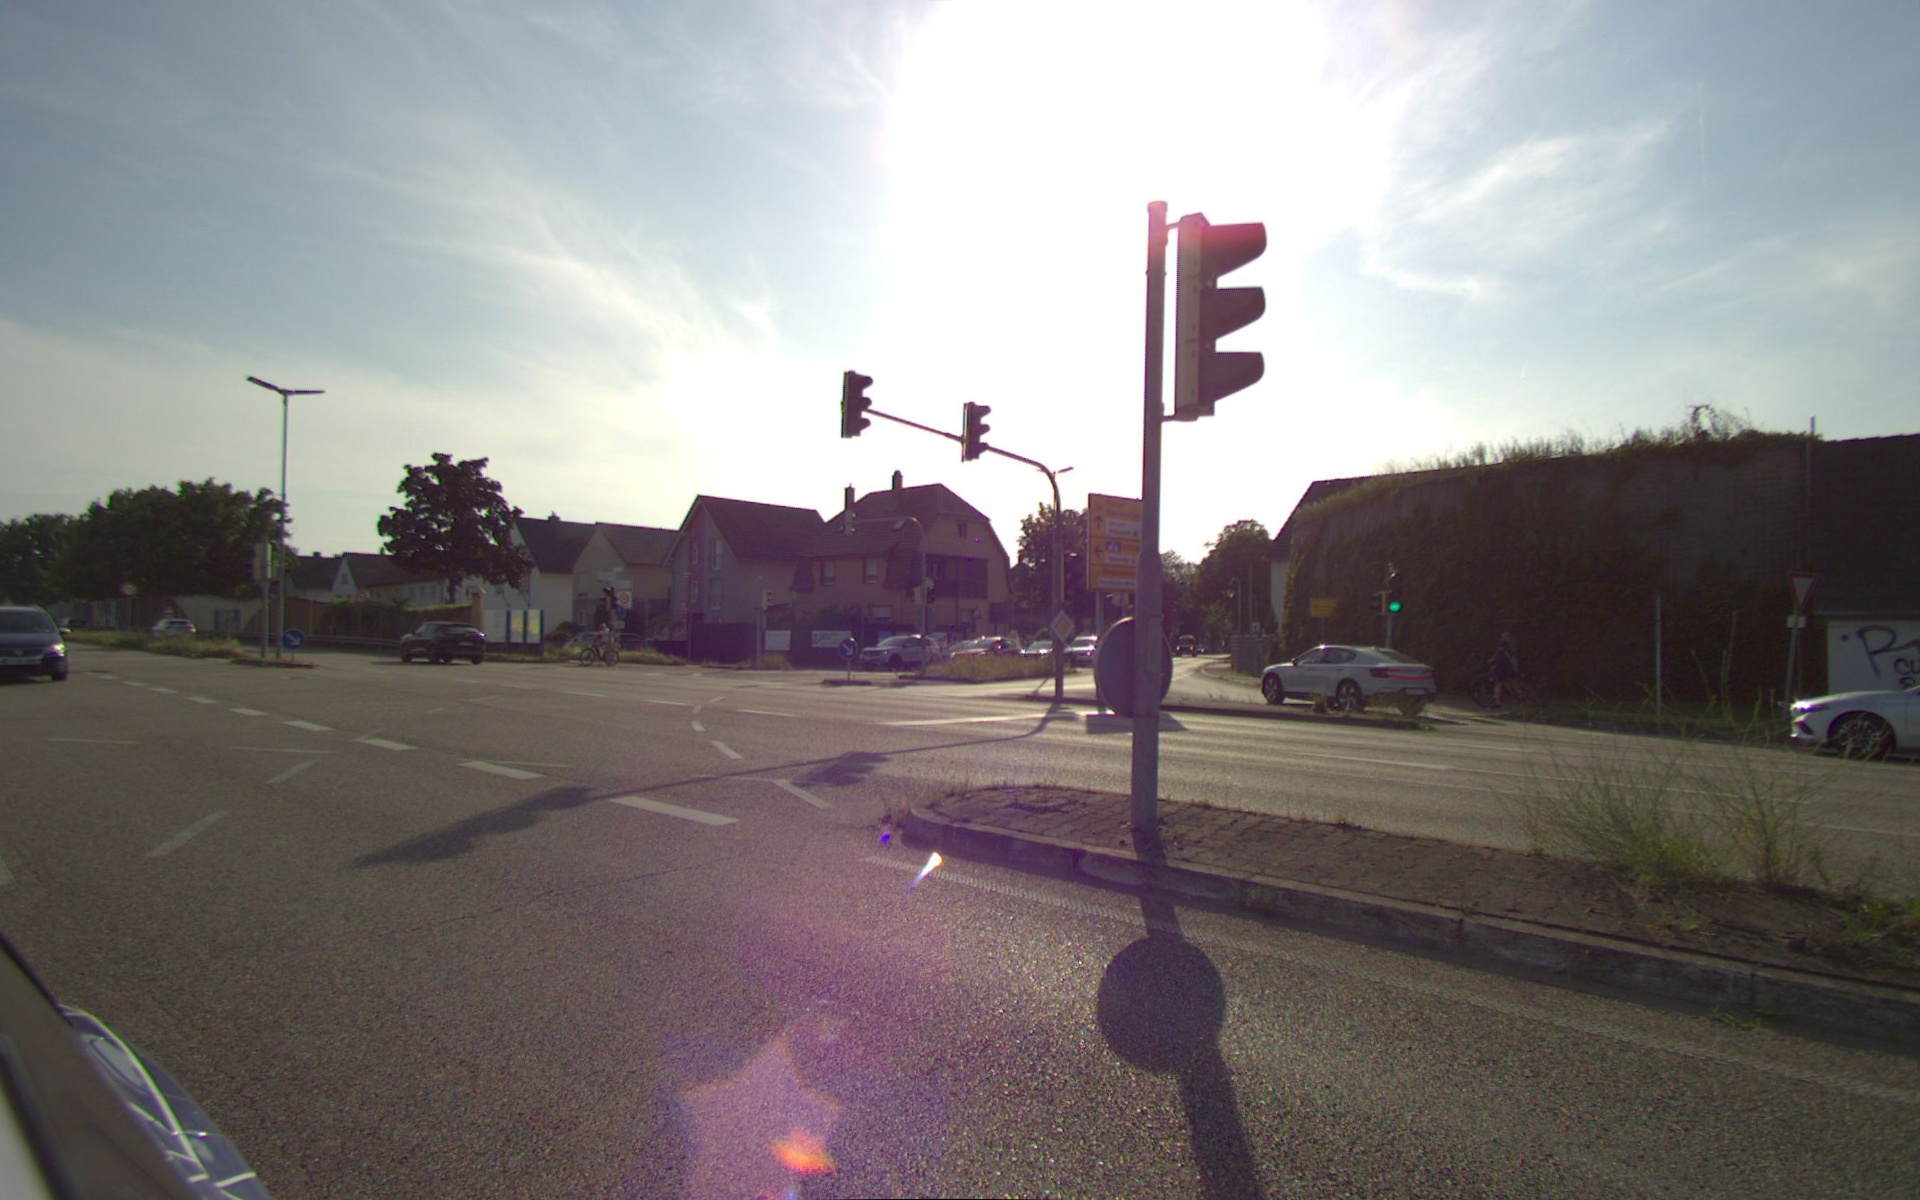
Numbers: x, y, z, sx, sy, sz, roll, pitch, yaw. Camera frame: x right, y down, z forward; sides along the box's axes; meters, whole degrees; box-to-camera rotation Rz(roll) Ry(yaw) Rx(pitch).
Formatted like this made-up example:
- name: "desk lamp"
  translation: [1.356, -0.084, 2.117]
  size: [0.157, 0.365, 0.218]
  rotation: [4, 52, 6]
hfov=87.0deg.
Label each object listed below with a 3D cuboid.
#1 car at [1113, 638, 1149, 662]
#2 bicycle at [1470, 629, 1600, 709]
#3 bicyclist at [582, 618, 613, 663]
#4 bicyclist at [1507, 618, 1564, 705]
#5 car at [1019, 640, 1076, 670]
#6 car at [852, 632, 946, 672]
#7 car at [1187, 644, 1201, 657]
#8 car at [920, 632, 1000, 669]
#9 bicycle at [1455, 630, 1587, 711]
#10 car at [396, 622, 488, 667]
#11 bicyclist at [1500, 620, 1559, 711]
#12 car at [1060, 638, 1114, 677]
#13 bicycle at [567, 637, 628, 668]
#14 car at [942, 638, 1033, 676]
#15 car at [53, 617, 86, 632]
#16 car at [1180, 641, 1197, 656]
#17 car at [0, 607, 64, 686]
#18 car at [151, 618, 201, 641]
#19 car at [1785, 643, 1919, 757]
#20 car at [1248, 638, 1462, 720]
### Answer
- name: "car"
  translation: [12.133, 3.506, 71.615]
  size: [1.775, 1.497, 3.400]
  rotation: [0, 0, 22]
- name: "bicycle"
  translation: [13.741, 1.608, 24.243]
  size: [2.606, 1.762, 0.745]
  rotation: [0, -1, 42]
- name: "bicyclist"
  translation: [-14.860, 1.654, 41.508]
  size: [0.844, 1.800, 0.848]
  rotation: [5, -4, -40]
- name: "bicyclist"
  translation: [13.769, 1.445, 24.222]
  size: [1.062, 2.029, 0.762]
  rotation: [-1, -1, 41]
- name: "car"
  translation: [4.063, 2.527, 46.777]
  size: [1.744, 1.186, 3.589]
  rotation: [0, 0, 21]
- name: "car"
  translation: [-2.597, 2.290, 43.995]
  size: [1.758, 1.575, 3.944]
  rotation: [0, -4, 42]
- name: "car"
  translation: [29.763, 6.400, 128.494]
  size: [1.531, 1.497, 3.407]
  rotation: [0, 0, 16]
- name: "car"
  translation: [0.051, 2.402, 48.564]
  size: [1.823, 1.576, 3.948]
  rotation: [0, 0, 38]
- name: "bicycle"
  translation: [13.086, 1.607, 23.666]
  size: [2.606, 1.762, 0.745]
  rotation: [0, -1, 42]
- name: "car"
  translation: [-19.490, 1.665, 38.030]
  size: [4.247, 1.553, 1.713]
  rotation: [-1, -4, 44]
- name: "bicyclist"
  translation: [13.259, 1.499, 23.560]
  size: [1.062, 2.029, 0.762]
  rotation: [-1, -1, 41]
- name: "car"
  translation: [6.791, 3.030, 53.698]
  size: [1.985, 1.829, 4.154]
  rotation: [0, 0, 20]
- name: "bicycle"
  translation: [-14.866, 2.146, 41.514]
  size: [2.128, 1.201, 0.905]
  rotation: [3, -2, -40]
- name: "car"
  translation: [1.180, 2.365, 41.501]
  size: [1.638, 1.424, 4.254]
  rotation: [-1, -4, 35]
- name: "car"
  translation: [-85.851, 2.347, 97.520]
  size: [4.551, 1.394, 1.770]
  rotation: [0, 0, 41]
- name: "car"
  translation: [25.016, 5.279, 110.628]
  size: [1.579, 1.497, 3.407]
  rotation: [0, 0, 16]
- name: "car"
  translation: [-21.566, 0.987, 22.638]
  size: [4.681, 1.634, 1.753]
  rotation: [0, -1, 42]
- name: "car"
  translation: [-52.885, 1.968, 68.243]
  size: [4.732, 1.473, 1.735]
  rotation: [-1, -4, 41]
- name: "car"
  translation: [14.234, 1.442, 13.724]
  size: [1.682, 1.509, 4.543]
  rotation: [6, -5, -42]
- name: "car"
  translation: [8.830, 1.703, 23.160]
  size: [1.922, 1.509, 4.776]
  rotation: [0, 0, -19]
